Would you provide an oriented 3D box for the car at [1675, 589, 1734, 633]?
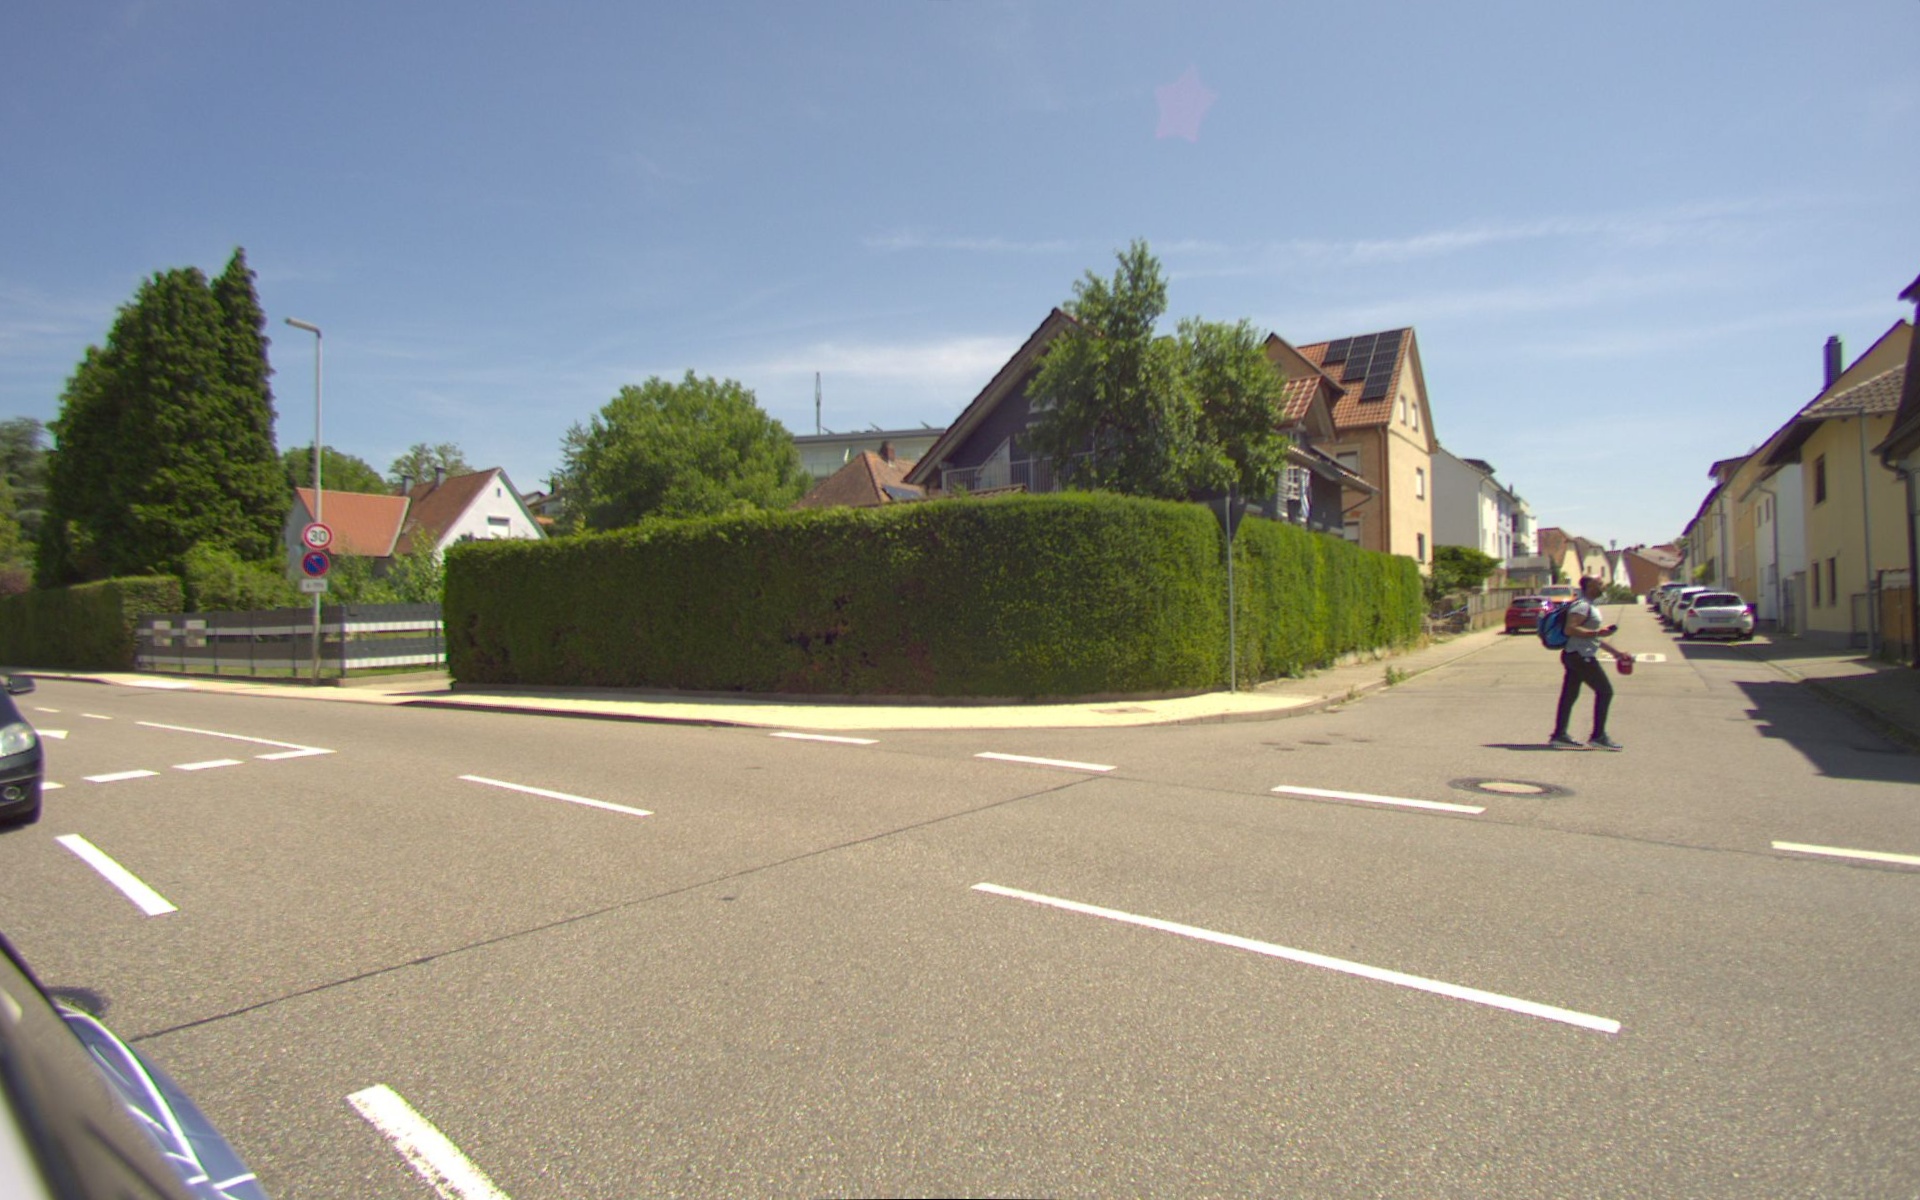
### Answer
[{"bbox_3d":[28.051,0.407,38.226,1.654,1.587,3.629,-1,0,35],"label":"car"}]

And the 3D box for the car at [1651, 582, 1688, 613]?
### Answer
[{"bbox_3d":[41.382,-0.125,59.084,1.702,1.733,3.629,-1,0,35],"label":"car"}]

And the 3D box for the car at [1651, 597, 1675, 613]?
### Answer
[{"bbox_3d":[61.786,0.407,88.998,1.702,1.374,3.629,-1,0,35],"label":"car"}]

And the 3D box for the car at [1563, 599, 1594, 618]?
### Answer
[{"bbox_3d":[43.003,0.572,70.334,1.611,1.316,3.315,-1,0,35],"label":"car"}]

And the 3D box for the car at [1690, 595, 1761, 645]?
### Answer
[{"bbox_3d":[24.495,0.612,32.458,1.654,1.499,3.142,-1,0,35],"label":"car"}]

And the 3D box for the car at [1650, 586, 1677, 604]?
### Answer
[{"bbox_3d":[55.861,-0.432,80.416,1.702,1.374,3.629,-1,0,35],"label":"car"}]

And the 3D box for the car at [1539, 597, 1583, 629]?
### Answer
[{"bbox_3d":[29.794,0.622,50.159,1.611,1.499,3.383,-1,0,35],"label":"car"}]

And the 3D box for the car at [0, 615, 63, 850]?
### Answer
[{"bbox_3d":[-8.581,0.982,7.725,4.150,1.601,1.846,-3,-1,37],"label":"car"}]

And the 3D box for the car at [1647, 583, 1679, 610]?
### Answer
[{"bbox_3d":[47.858,-0.249,68.904,1.702,1.733,3.629,-1,0,35],"label":"car"}]

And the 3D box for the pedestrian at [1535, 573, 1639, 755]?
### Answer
[{"bbox_3d":[6.346,0.602,10.241,0.854,1.742,0.721,1,1,35],"label":"pedestrian"}]

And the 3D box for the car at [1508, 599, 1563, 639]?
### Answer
[{"bbox_3d":[22.990,0.727,40.389,1.611,1.499,3.383,-1,0,35],"label":"car"}]

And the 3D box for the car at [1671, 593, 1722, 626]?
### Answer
[{"bbox_3d":[31.519,0.386,43.372,1.654,1.378,3.629,-1,0,35],"label":"car"}]

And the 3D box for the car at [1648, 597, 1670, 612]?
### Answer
[{"bbox_3d":[66.296,0.458,95.998,1.702,1.374,3.629,-1,-2,35],"label":"car"}]
